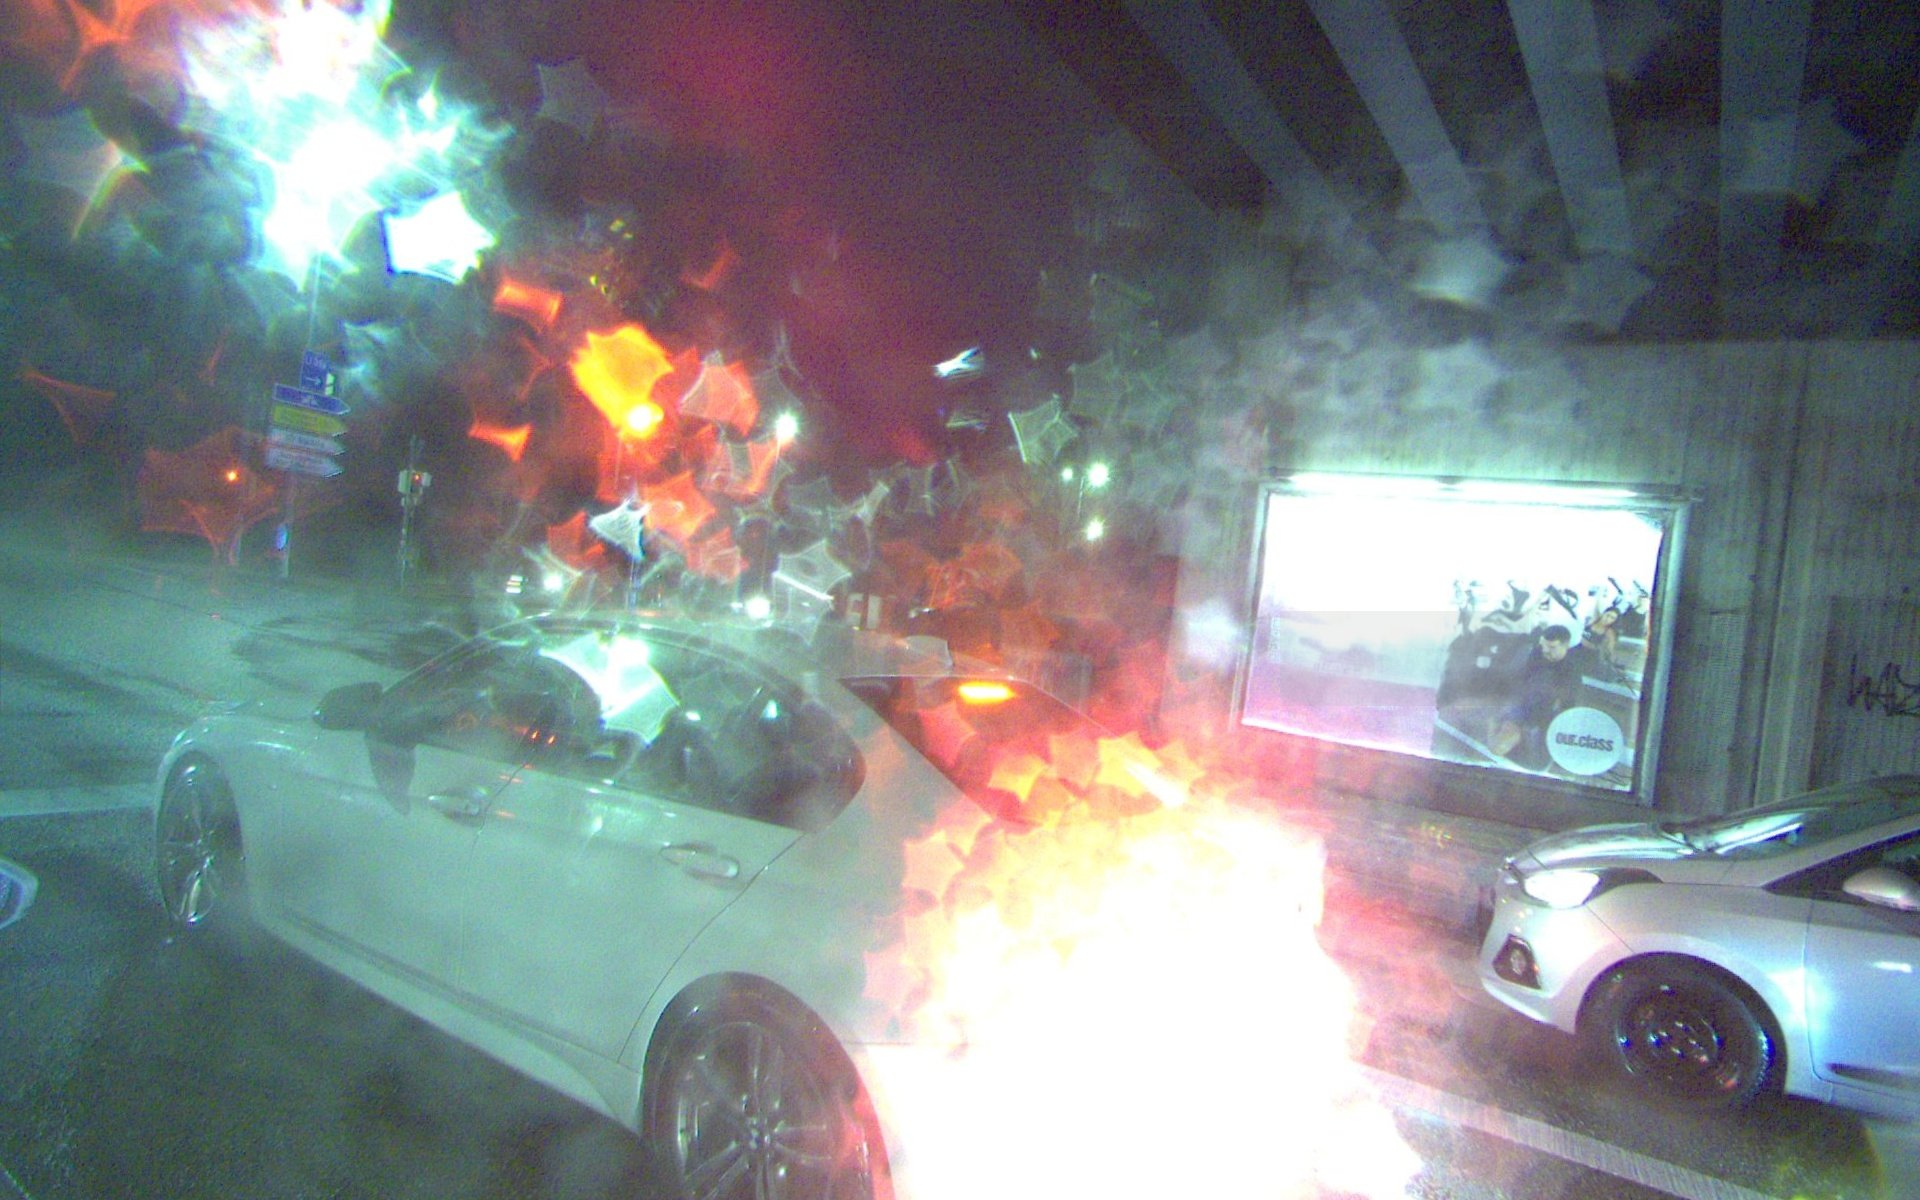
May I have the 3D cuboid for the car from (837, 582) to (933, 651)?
[{"bbox_3d":[-2.582,0.634,35.659,1.674,2.037,3.567,6,-2,25],"label":"car"}]

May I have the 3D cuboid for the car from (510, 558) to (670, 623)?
[{"bbox_3d":[-12.688,-0.299,34.818,1.826,1.609,4.850,6,-2,38],"label":"car"}]

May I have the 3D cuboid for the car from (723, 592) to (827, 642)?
[{"bbox_3d":[-8.448,0.802,46.253,1.956,1.775,4.337,6,-2,39],"label":"car"}]

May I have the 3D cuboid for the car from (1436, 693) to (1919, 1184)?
[{"bbox_3d":[4.282,1.404,3.983,4.092,1.465,1.722,6,0,31],"label":"car"}]

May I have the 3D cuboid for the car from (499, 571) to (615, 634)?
[{"bbox_3d":[-14.714,0.102,36.869,1.662,1.859,3.418,6,-2,38],"label":"car"}]

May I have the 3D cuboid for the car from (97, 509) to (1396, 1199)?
[{"bbox_3d":[-0.982,0.629,3.508,4.309,1.465,1.722,6,0,31],"label":"car"}]
